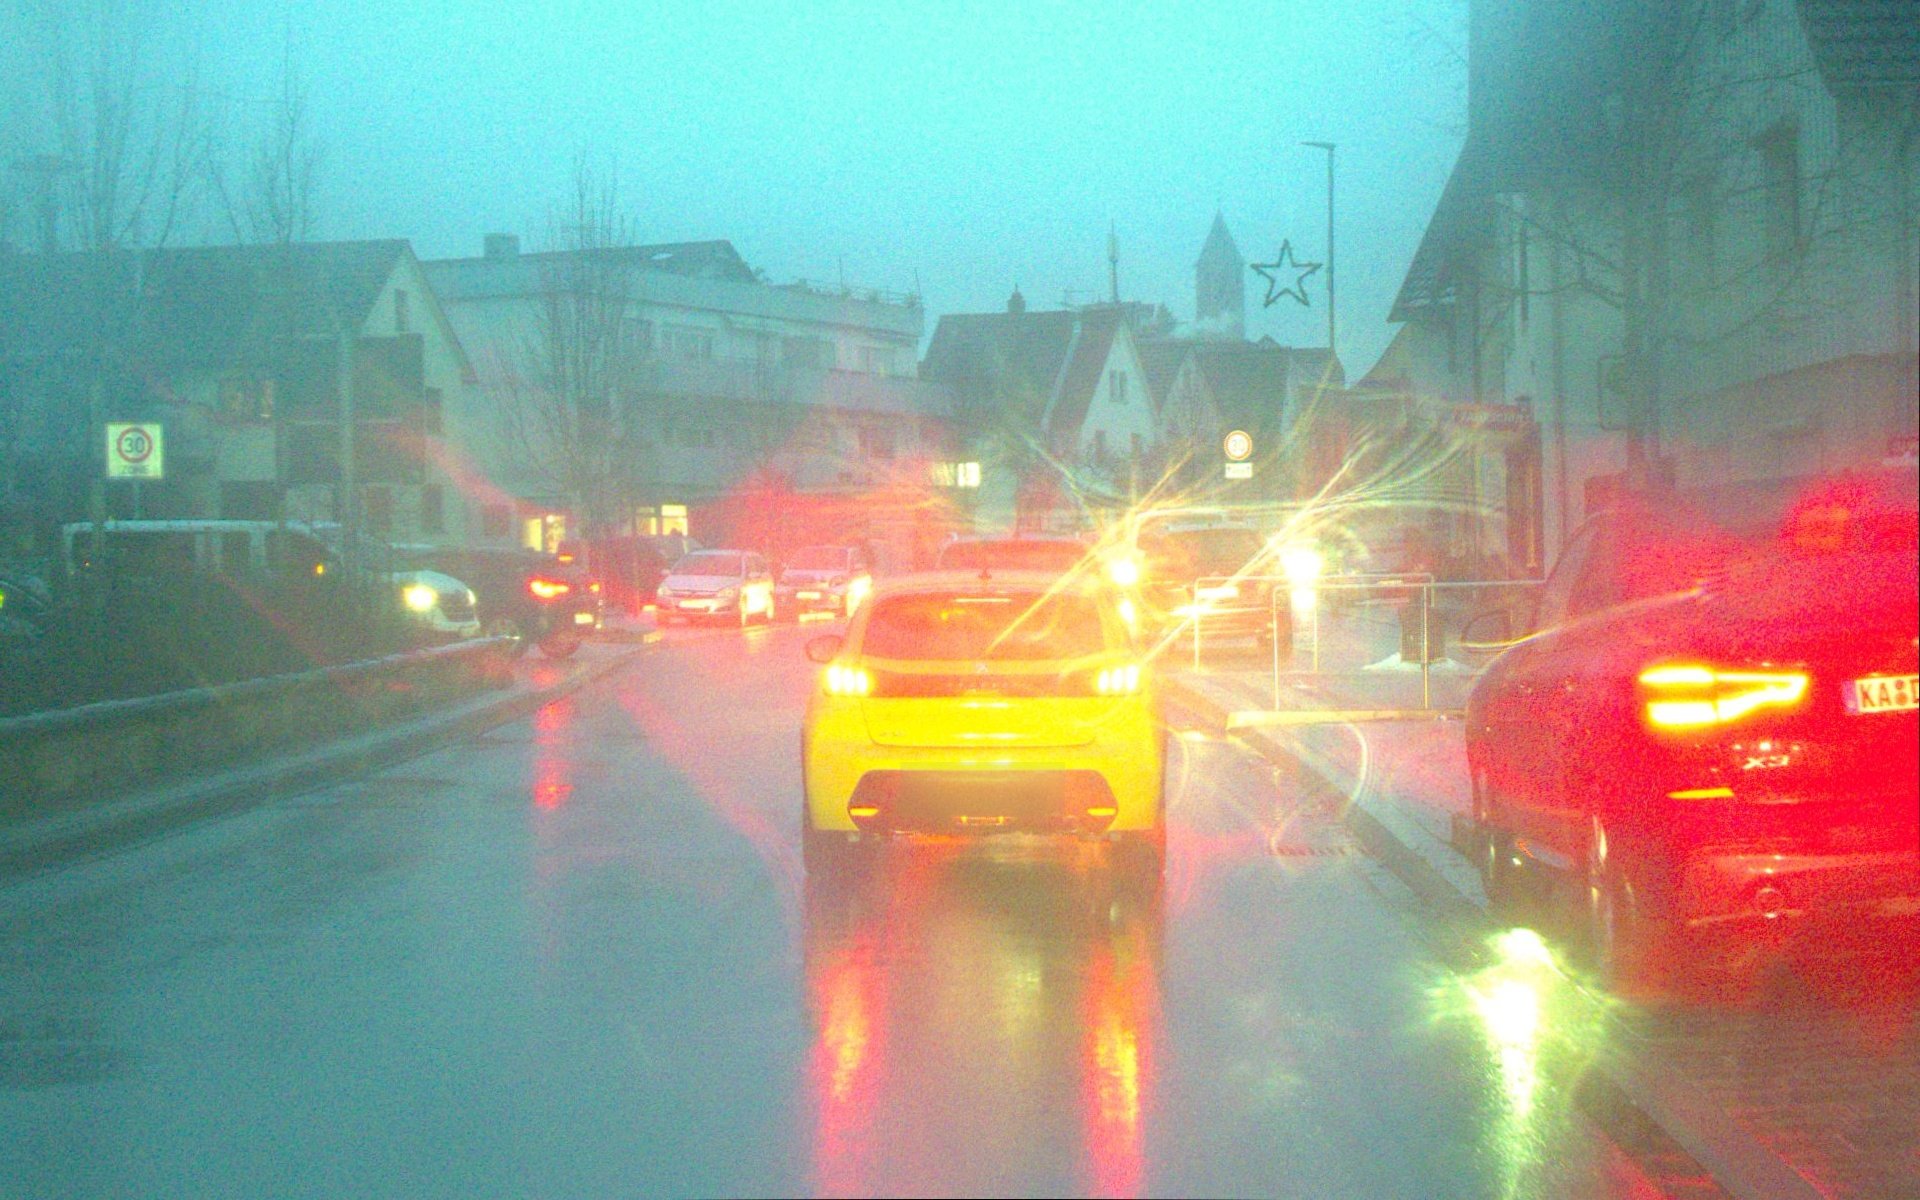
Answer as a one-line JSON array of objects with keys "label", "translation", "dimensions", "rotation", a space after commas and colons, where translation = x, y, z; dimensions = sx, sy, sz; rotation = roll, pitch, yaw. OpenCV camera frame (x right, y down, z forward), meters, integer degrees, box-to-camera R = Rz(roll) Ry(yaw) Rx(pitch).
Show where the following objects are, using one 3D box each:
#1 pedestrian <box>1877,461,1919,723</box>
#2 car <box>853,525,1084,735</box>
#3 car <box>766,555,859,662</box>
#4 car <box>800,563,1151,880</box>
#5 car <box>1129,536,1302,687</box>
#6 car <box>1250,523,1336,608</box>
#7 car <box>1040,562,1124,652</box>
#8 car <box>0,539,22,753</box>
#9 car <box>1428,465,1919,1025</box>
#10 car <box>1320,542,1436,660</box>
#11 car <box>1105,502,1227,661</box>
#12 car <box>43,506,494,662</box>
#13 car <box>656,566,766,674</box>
[{"label": "pedestrian", "translation": [5.803, -0.053, 20.009], "dimensions": [0.618, 1.510, 0.734], "rotation": [-1, 2, -12]}, {"label": "car", "translation": [0.130, 0.210, 28.933], "dimensions": [1.766, 1.623, 3.585], "rotation": [1, 1, 3]}, {"label": "car", "translation": [-3.204, 0.212, 75.435], "dimensions": [1.919, 2.208, 3.975], "rotation": [1, -2, -1]}, {"label": "car", "translation": [0.088, 0.533, 17.065], "dimensions": [1.563, 1.408, 3.018], "rotation": [1, 1, 1]}, {"label": "car", "translation": [3.256, 0.138, 44.518], "dimensions": [1.997, 1.858, 4.083], "rotation": [0, 0, 1]}, {"label": "car", "translation": [7.958, -0.790, 81.975], "dimensions": [1.871, 1.828, 4.442], "rotation": [1, -2, 7]}, {"label": "car", "translation": [3.033, 0.189, 85.577], "dimensions": [1.993, 2.105, 3.999], "rotation": [1, -2, 2]}, {"label": "car", "translation": [-9.443, 0.348, 26.107], "dimensions": [4.167, 1.638, 1.658], "rotation": [0, 0, 5]}, {"label": "car", "translation": [2.893, 0.416, 12.606], "dimensions": [1.735, 1.686, 4.386], "rotation": [-1, 0, 0]}, {"label": "car", "translation": [8.397, 0.047, 69.330], "dimensions": [1.994, 2.241, 3.999], "rotation": [1, -2, 2]}, {"label": "car", "translation": [3.371, -0.263, 56.964], "dimensions": [1.870, 2.461, 4.443], "rotation": [1, -2, 2]}, {"label": "car", "translation": [-8.831, -0.217, 43.941], "dimensions": [5.400, 1.811, 1.711], "rotation": [2, 0, 14]}, {"label": "car", "translation": [-4.857, 0.423, 67.562], "dimensions": [1.919, 2.021, 3.975], "rotation": [1, -2, -1]}]
